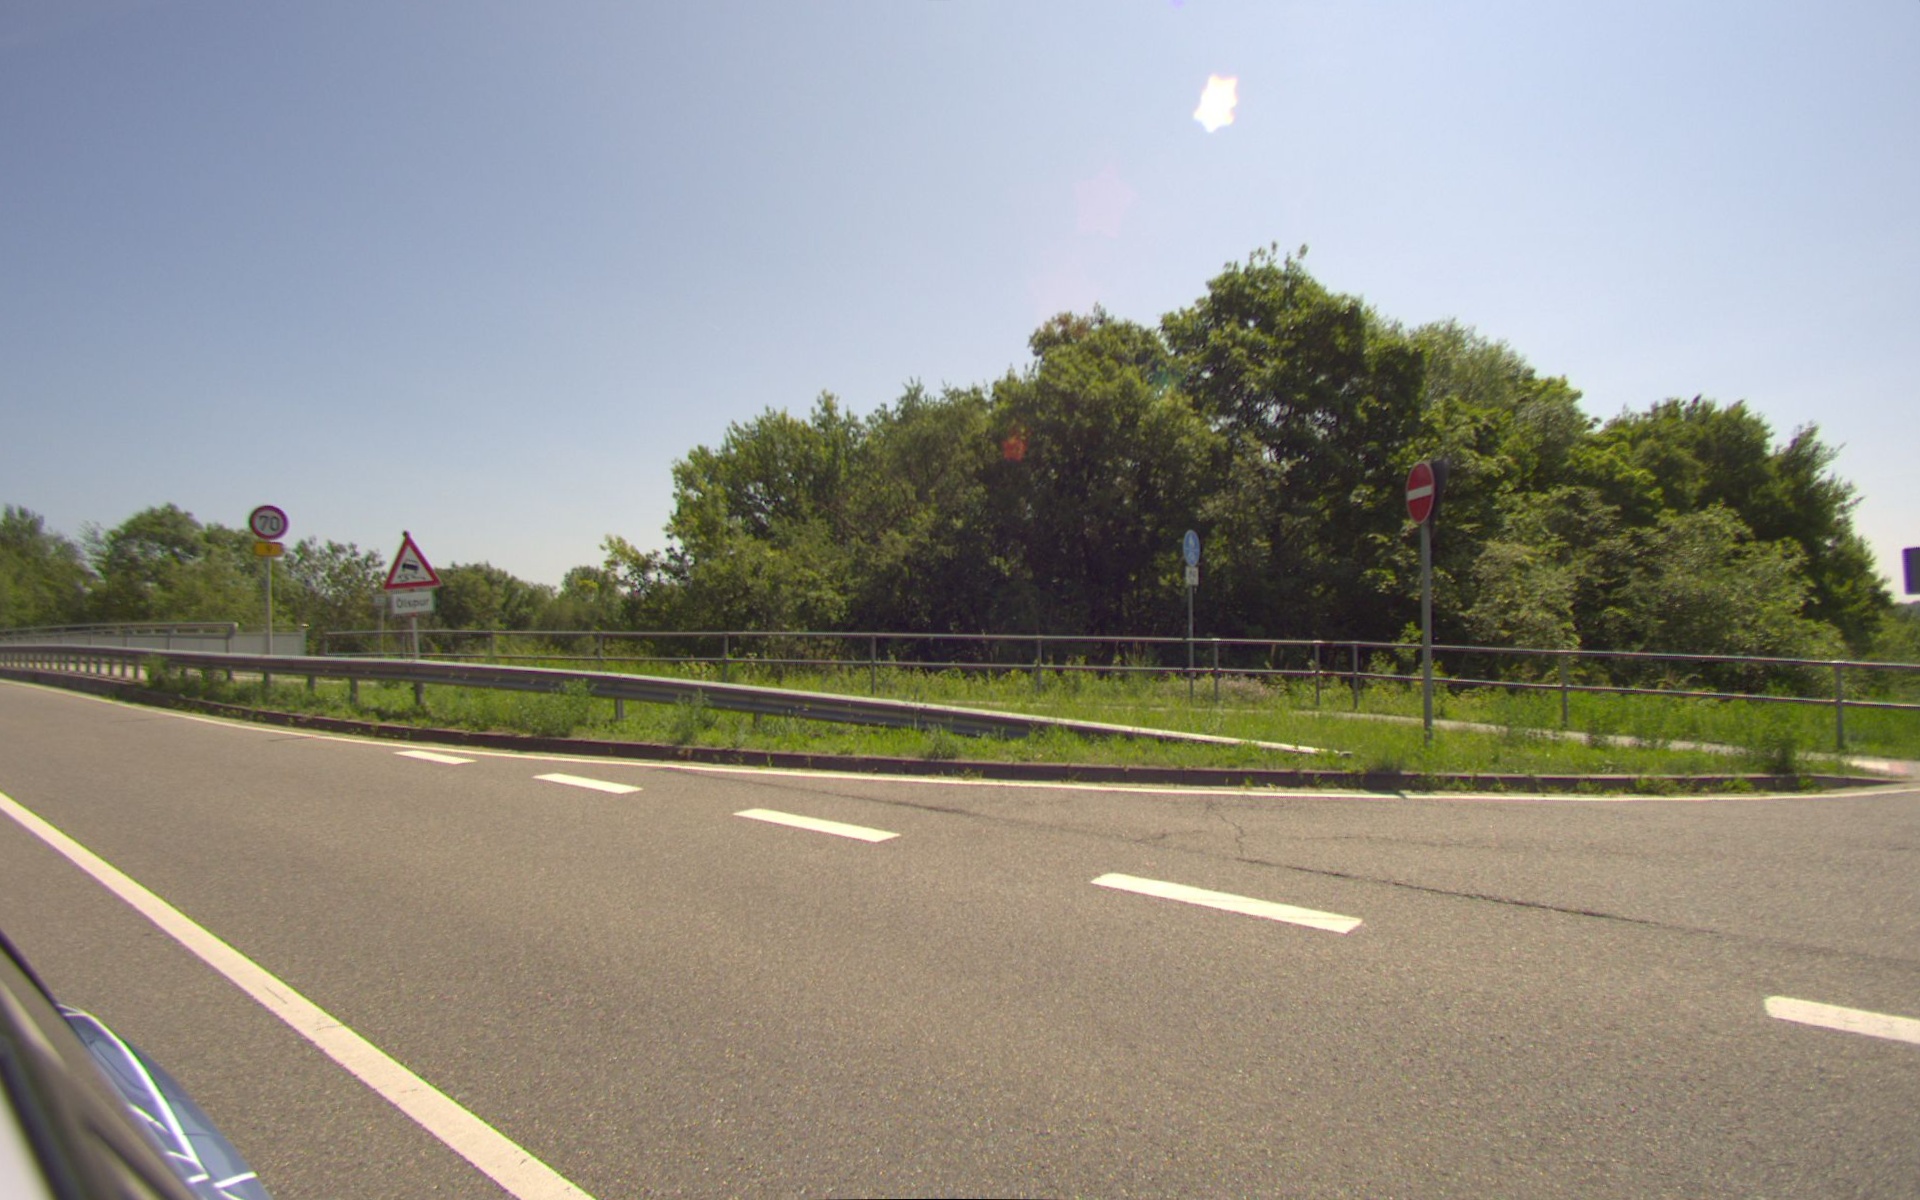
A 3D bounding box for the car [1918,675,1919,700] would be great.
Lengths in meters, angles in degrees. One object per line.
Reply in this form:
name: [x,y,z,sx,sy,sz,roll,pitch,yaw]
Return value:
car: [69.206,6.084,69.542,1.991,1.938,5.185,-1,-5,5]
